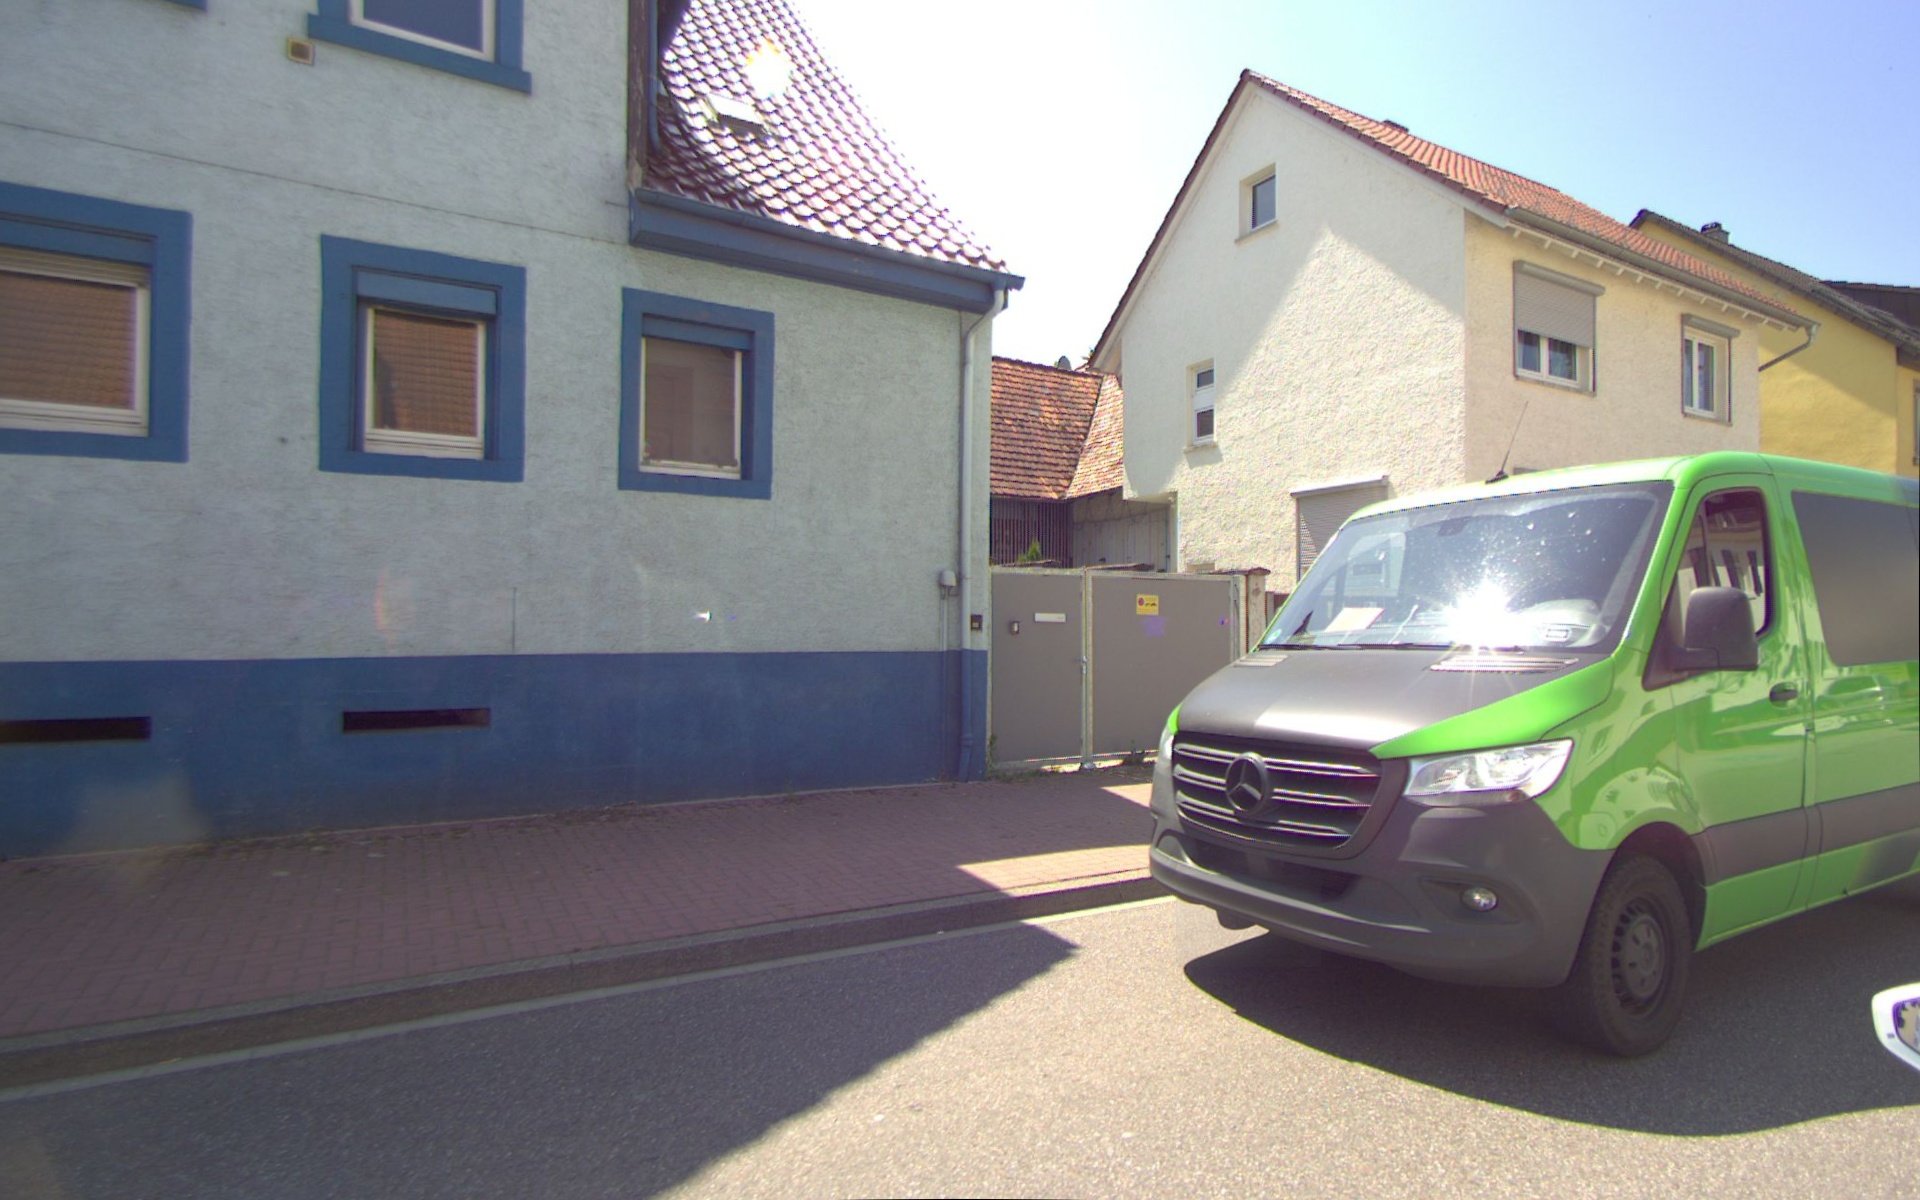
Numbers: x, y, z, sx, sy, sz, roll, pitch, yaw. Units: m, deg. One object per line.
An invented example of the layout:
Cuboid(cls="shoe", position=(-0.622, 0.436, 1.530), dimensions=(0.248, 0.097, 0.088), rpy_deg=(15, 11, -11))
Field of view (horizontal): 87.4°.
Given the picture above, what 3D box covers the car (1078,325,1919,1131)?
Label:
Cuboid(cls="car", position=(3.647, 0.454, 5.414), dimensions=(6.011, 2.384, 2.041), rpy_deg=(1, -2, -31))
